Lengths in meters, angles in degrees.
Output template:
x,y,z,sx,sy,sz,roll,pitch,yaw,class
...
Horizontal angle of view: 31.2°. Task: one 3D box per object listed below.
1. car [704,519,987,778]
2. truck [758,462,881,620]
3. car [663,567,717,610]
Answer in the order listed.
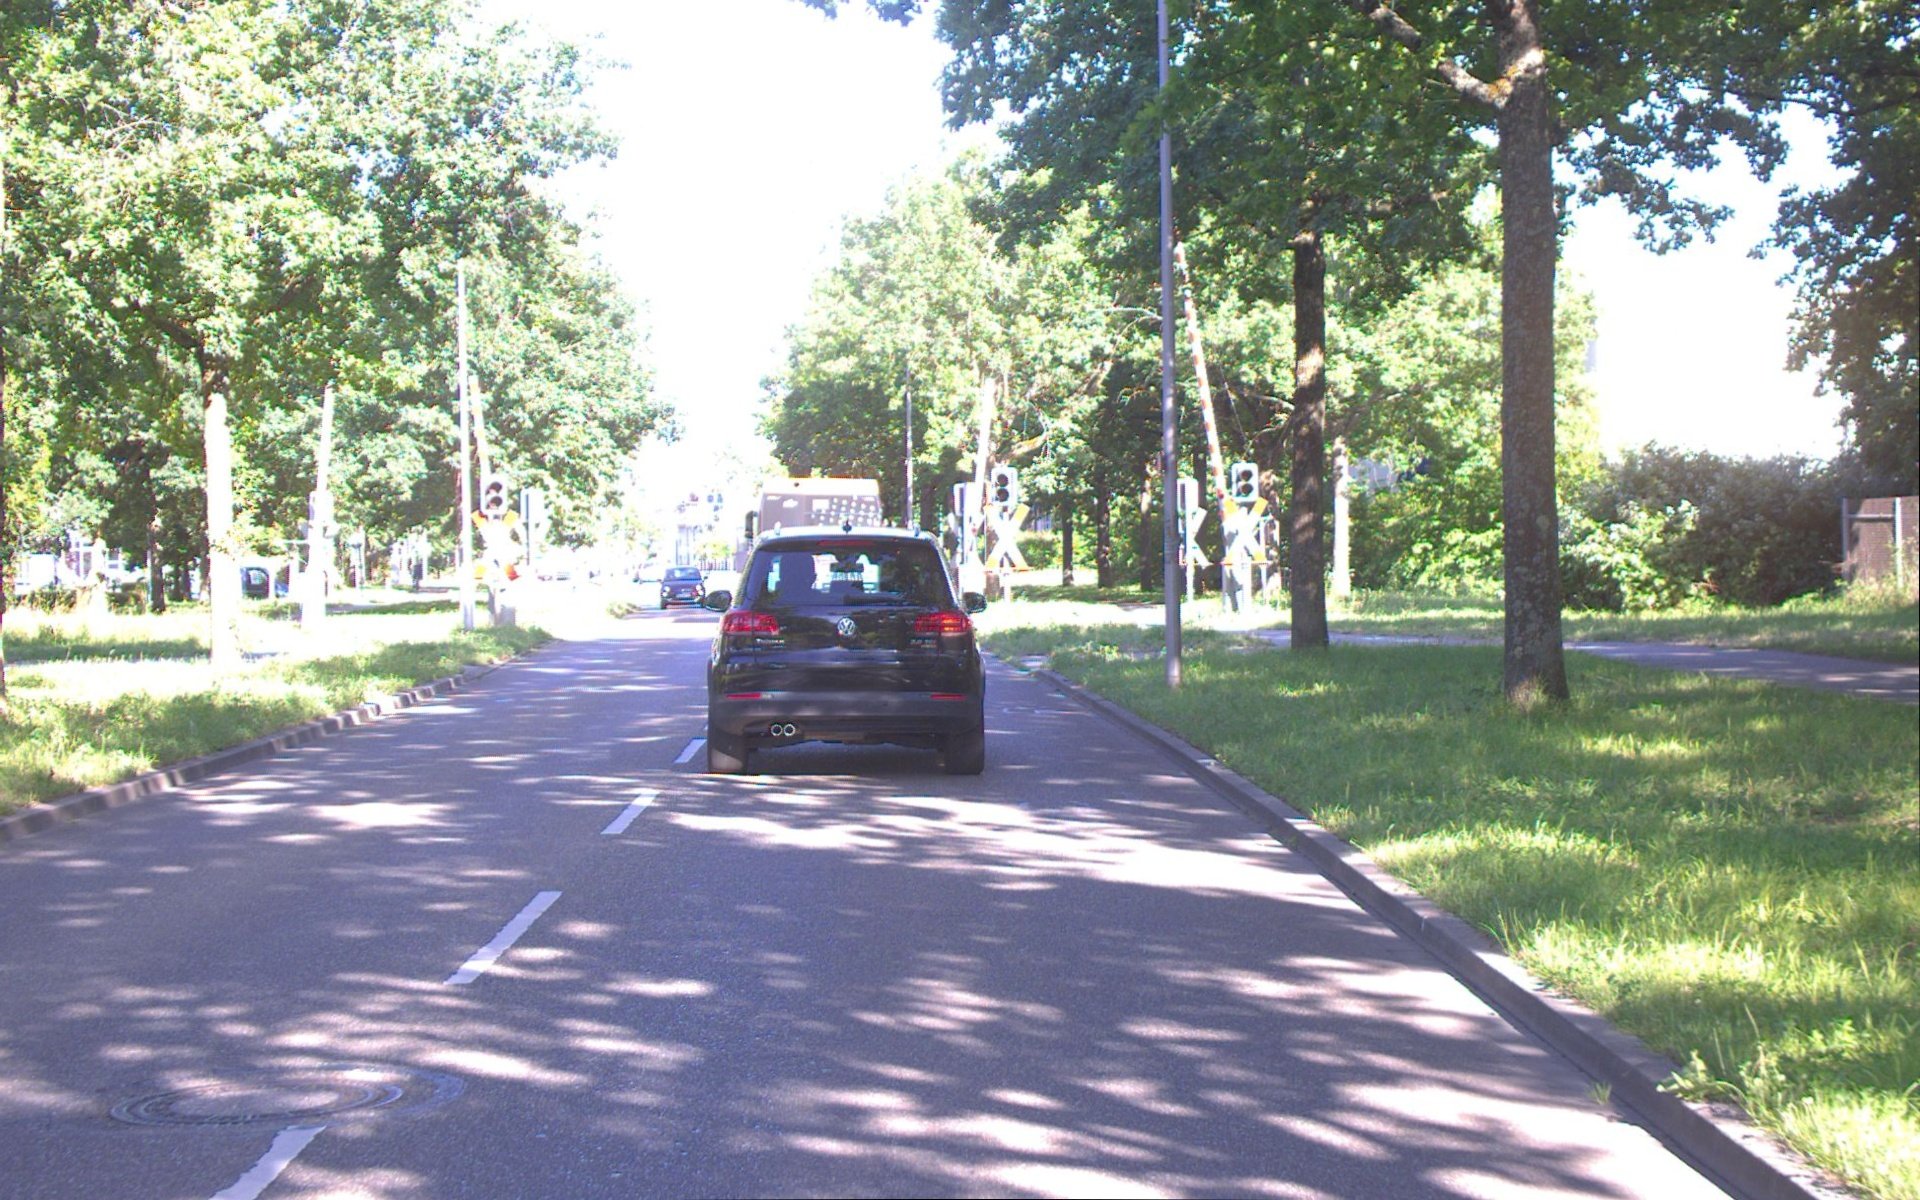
x,y,z,sx,sy,sz,roll,pitch,yaw,class
-0.788,0.285,23.942,1.782,1.628,4.000,1,1,-2,car
-3.038,-1.269,75.064,2.512,3.232,8.153,-1,1,-2,truck
-9.624,-0.430,122.717,1.565,1.499,4.000,1,1,0,car
